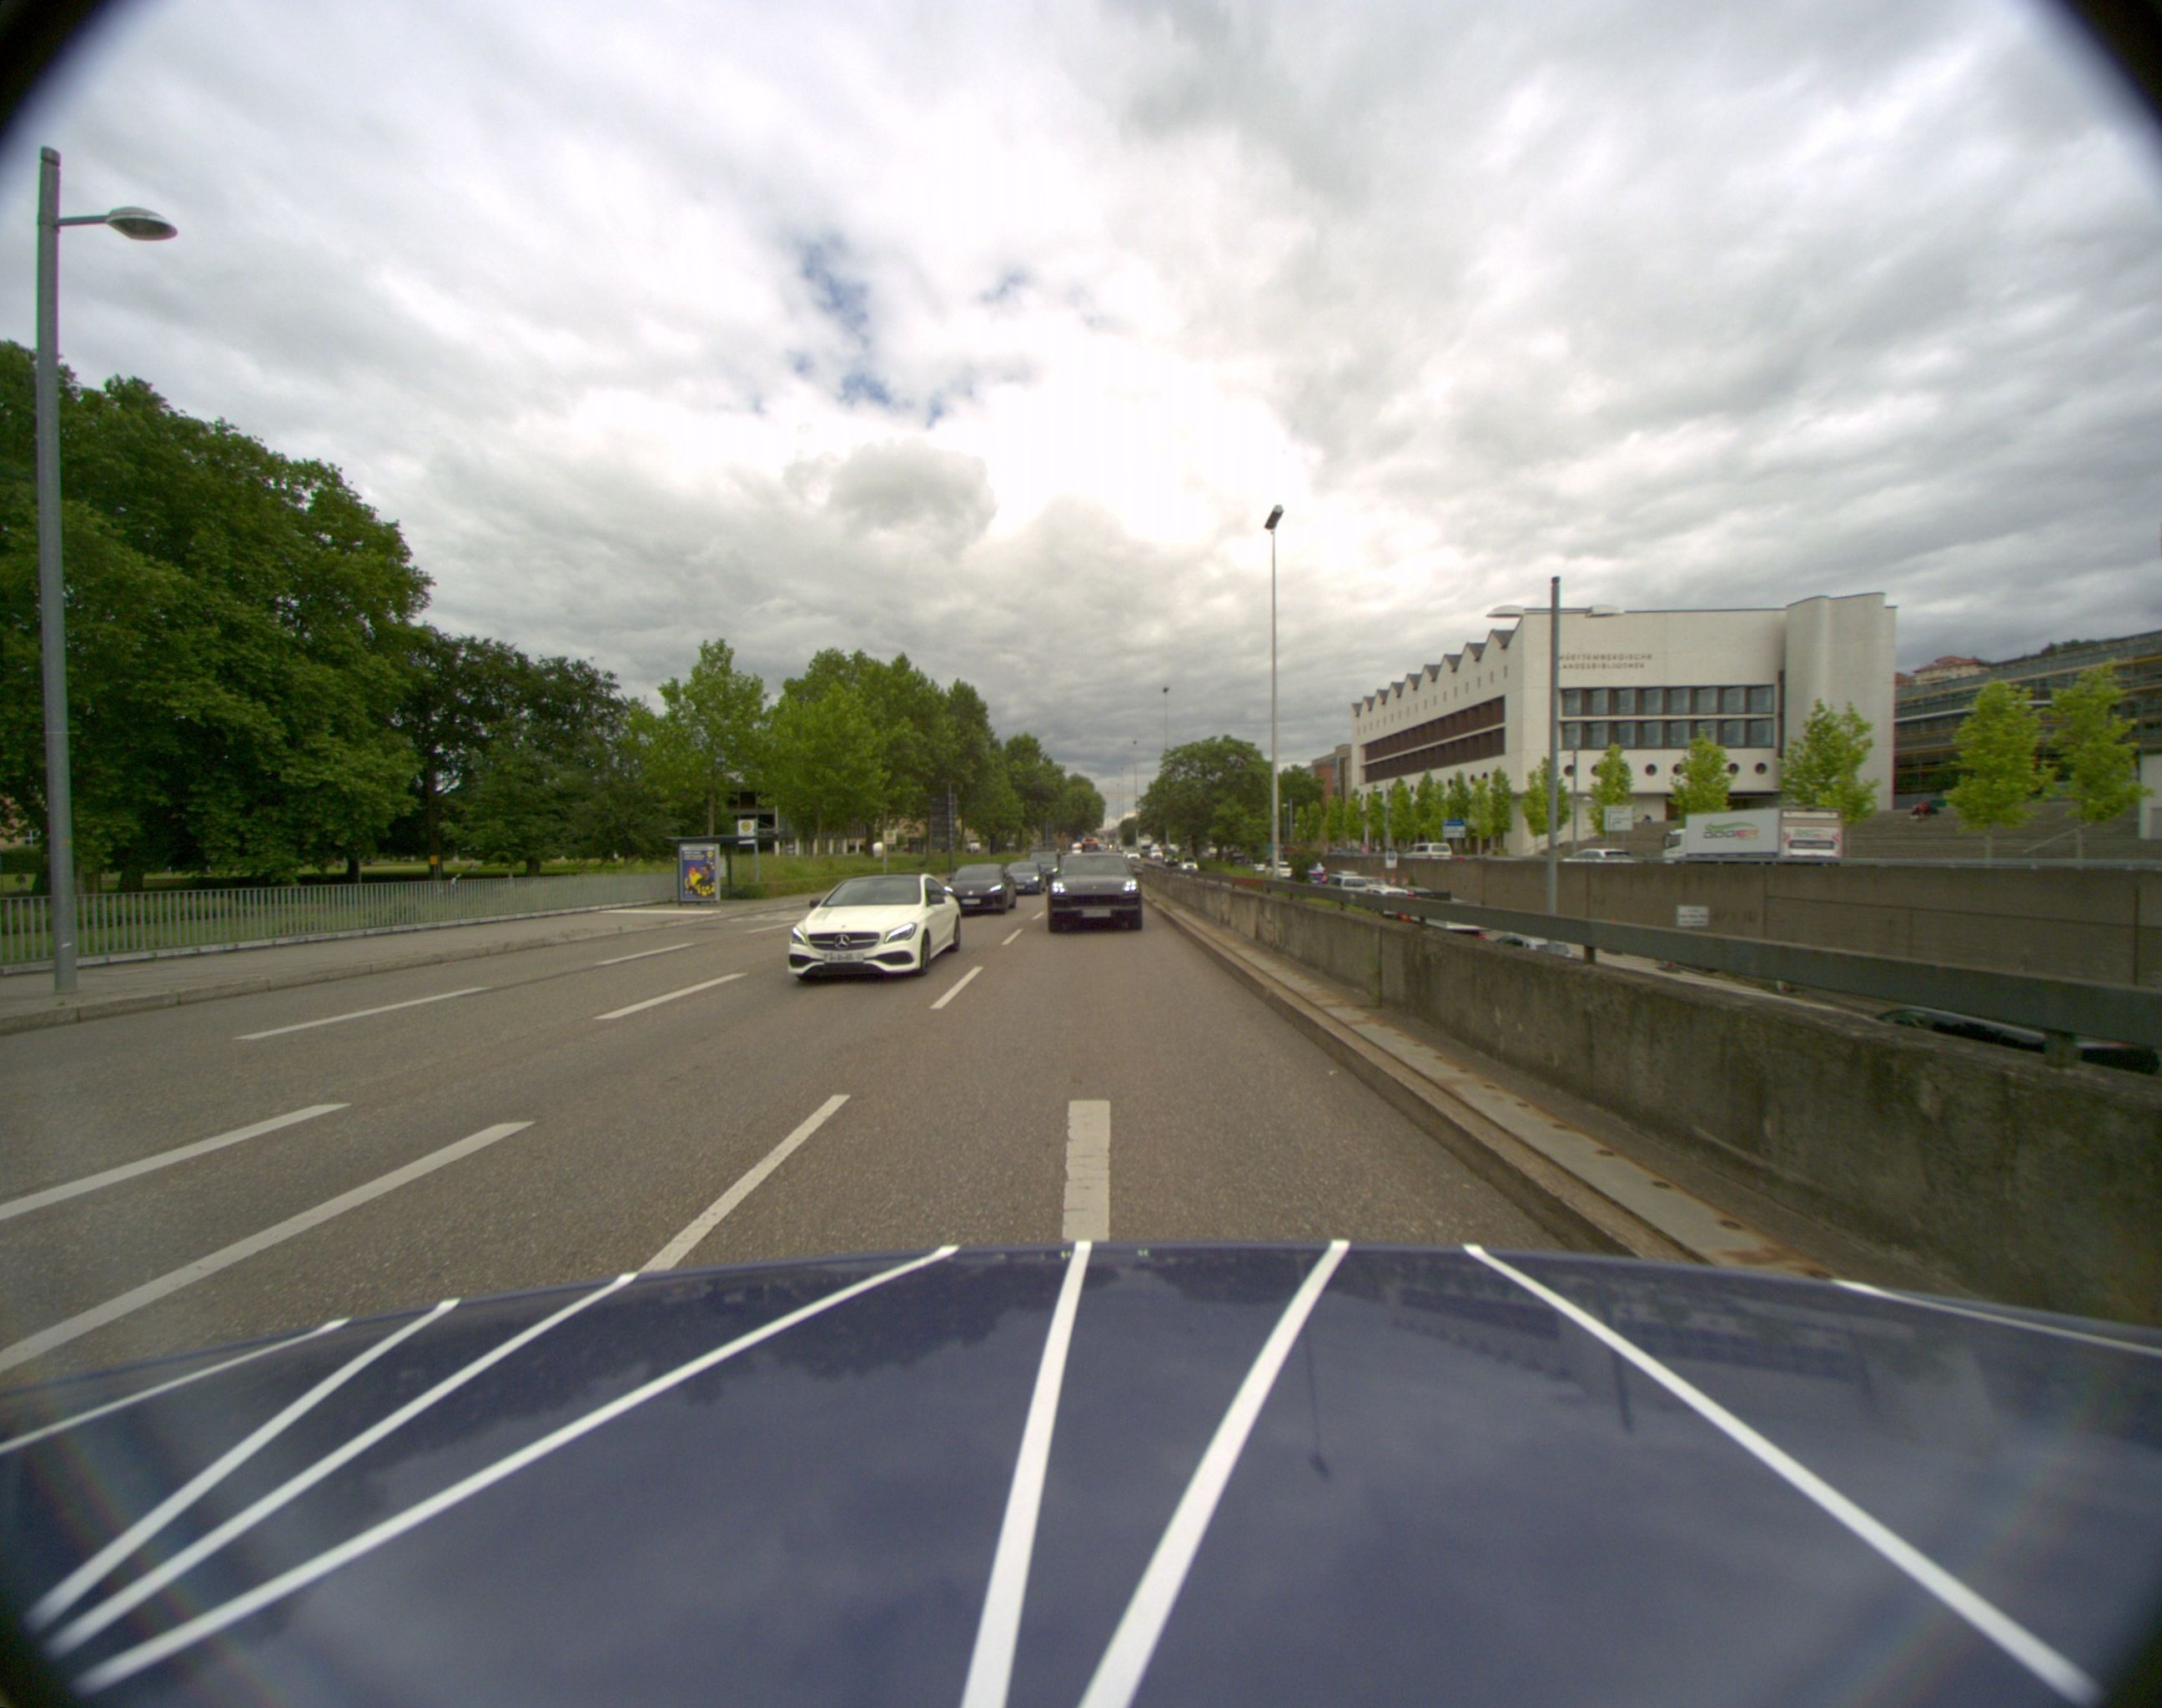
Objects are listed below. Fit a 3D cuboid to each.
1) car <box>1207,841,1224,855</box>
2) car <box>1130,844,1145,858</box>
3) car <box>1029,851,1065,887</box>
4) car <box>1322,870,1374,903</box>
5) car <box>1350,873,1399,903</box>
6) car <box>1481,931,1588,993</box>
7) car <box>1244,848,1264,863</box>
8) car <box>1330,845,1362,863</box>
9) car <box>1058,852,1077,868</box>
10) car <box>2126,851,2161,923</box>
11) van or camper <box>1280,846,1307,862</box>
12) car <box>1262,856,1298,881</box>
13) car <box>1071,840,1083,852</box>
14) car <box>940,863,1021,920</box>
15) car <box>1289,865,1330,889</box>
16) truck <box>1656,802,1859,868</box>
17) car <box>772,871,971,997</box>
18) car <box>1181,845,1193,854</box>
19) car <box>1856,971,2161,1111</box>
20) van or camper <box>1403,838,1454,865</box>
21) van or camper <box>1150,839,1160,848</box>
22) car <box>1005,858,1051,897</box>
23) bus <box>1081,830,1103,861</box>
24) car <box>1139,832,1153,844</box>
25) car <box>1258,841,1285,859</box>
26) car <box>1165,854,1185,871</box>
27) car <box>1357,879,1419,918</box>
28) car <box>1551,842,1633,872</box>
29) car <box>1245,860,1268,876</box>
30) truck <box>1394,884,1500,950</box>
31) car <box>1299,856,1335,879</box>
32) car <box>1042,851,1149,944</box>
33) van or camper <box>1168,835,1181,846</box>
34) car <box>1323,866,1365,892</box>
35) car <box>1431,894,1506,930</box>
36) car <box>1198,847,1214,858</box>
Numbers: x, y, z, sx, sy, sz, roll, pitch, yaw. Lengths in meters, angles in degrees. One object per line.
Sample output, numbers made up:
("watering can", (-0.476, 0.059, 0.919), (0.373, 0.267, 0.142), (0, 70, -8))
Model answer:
("car", (20.969, -0.890, 118.633), (1.998, 2.002, 4.000), (-2, 0, 0))
("car", (8.329, -0.390, 111.634), (1.998, 2.001, 4.001), (-1, -1, 1))
("car", (-1.861, 0.787, 42.741), (1.723, 1.851, 4.430), (-2, 0, 1))
("car", (17.914, 2.159, 51.255), (1.998, 2.002, 4.333), (2, 0, 1))
("car", (21.564, 2.447, 55.982), (1.998, 2.002, 4.000), (2, 0, 1))
("car", (17.421, 4.095, 29.431), (1.794, 1.805, 3.928), (-2, 0, 0))
("car", (24.177, 0.175, 106.252), (1.998, 2.002, 4.000), (2, 0, 1))
("car", (27.705, 0.048, 79.623), (1.998, 1.805, 4.001), (-1, -1, 1))
("car", (-1.234, 0.541, 69.452), (1.565, 1.409, 3.620), (-2, 0, 1))
("car", (28.173, 0.793, 17.634), (1.998, 1.805, 4.258), (-1, -1, 1))
("van or camper", (26.626, 0.031, 95.127), (1.999, 2.001, 4.557), (-1, -1, -1))
("car", (18.133, 1.261, 69.458), (1.998, 2.119, 4.852), (2, 0, 1))
("car", (-0.789, -1.380, 134.957), (1.999, 2.002, 3.999), (-2, 0, -2))
("car", (-3.001, 1.073, 23.413), (1.829, 1.515, 4.120), (-2, 0, 1))
("car", (18.043, 1.774, 60.195), (1.998, 1.733, 4.282), (2, 0, 1))
("truck", (31.806, -0.785, 36.261), (3.239, 2.771, 7.254), (-1, -1, 1))
("car", (-2.960, 1.058, 11.818), (1.723, 1.415, 4.506), (-2, 0, 1))
("car", (18.106, -0.714, 129.614), (1.675, 1.477, 3.362), (-2, 0, 1))
("car", (20.107, 3.906, 16.622), (1.998, 1.944, 4.229), (-2, 0, 1))
("van or camper", (27.727, -0.182, 60.831), (1.998, 2.001, 4.558), (-1, -1, 1))
("van or camper", (17.802, -2.445, 183.127), (2.036, 2.002, 4.000), (-2, 0, 1))
("car", (-2.310, 0.993, 33.771), (1.573, 1.528, 4.002), (-2, 0, 2))
("bus", (1.608, -1.277, 111.859), (3.043, 4.327, 8.749), (-1, 0, 0))
("car", (11.262, -2.742, 132.177), (1.997, 2.002, 4.003), (-2, 0, 9))
("car", (22.143, -0.470, 88.577), (1.998, 2.002, 4.656), (-2, 0, 1))
("car", (11.726, 1.017, 95.011), (1.998, 2.002, 3.999), (0, 1, 1))
("car", (17.867, 2.536, 44.459), (1.998, 2.002, 4.000), (2, 0, 1))
("car", (27.907, 0.178, 41.679), (1.723, 1.565, 4.271), (-1, -1, 2))
("car", (18.041, 1.427, 78.227), (1.675, 1.477, 3.361), (-1, 0, 1))
("truck", (17.505, 2.931, 36.787), (2.324, 2.675, 5.979), (-2, 0, 2))
("car", (21.378, 1.183, 68.862), (1.998, 2.002, 4.000), (2, 0, 1))
("car", (0.310, 0.807, 16.485), (1.937, 1.668, 4.679), (-2, 0, 1))
("van or camper", (18.043, -2.545, 147.008), (2.036, 2.002, 4.000), (-2, 0, 1))
("car", (21.394, 1.991, 61.910), (1.998, 2.002, 4.000), (2, 0, 1))
("car", (20.957, 3.099, 41.284), (1.998, 1.543, 4.000), (-2, 0, 1))
("car", (17.705, -0.141, 107.770), (1.675, 1.477, 3.362), (-2, 0, 1))
